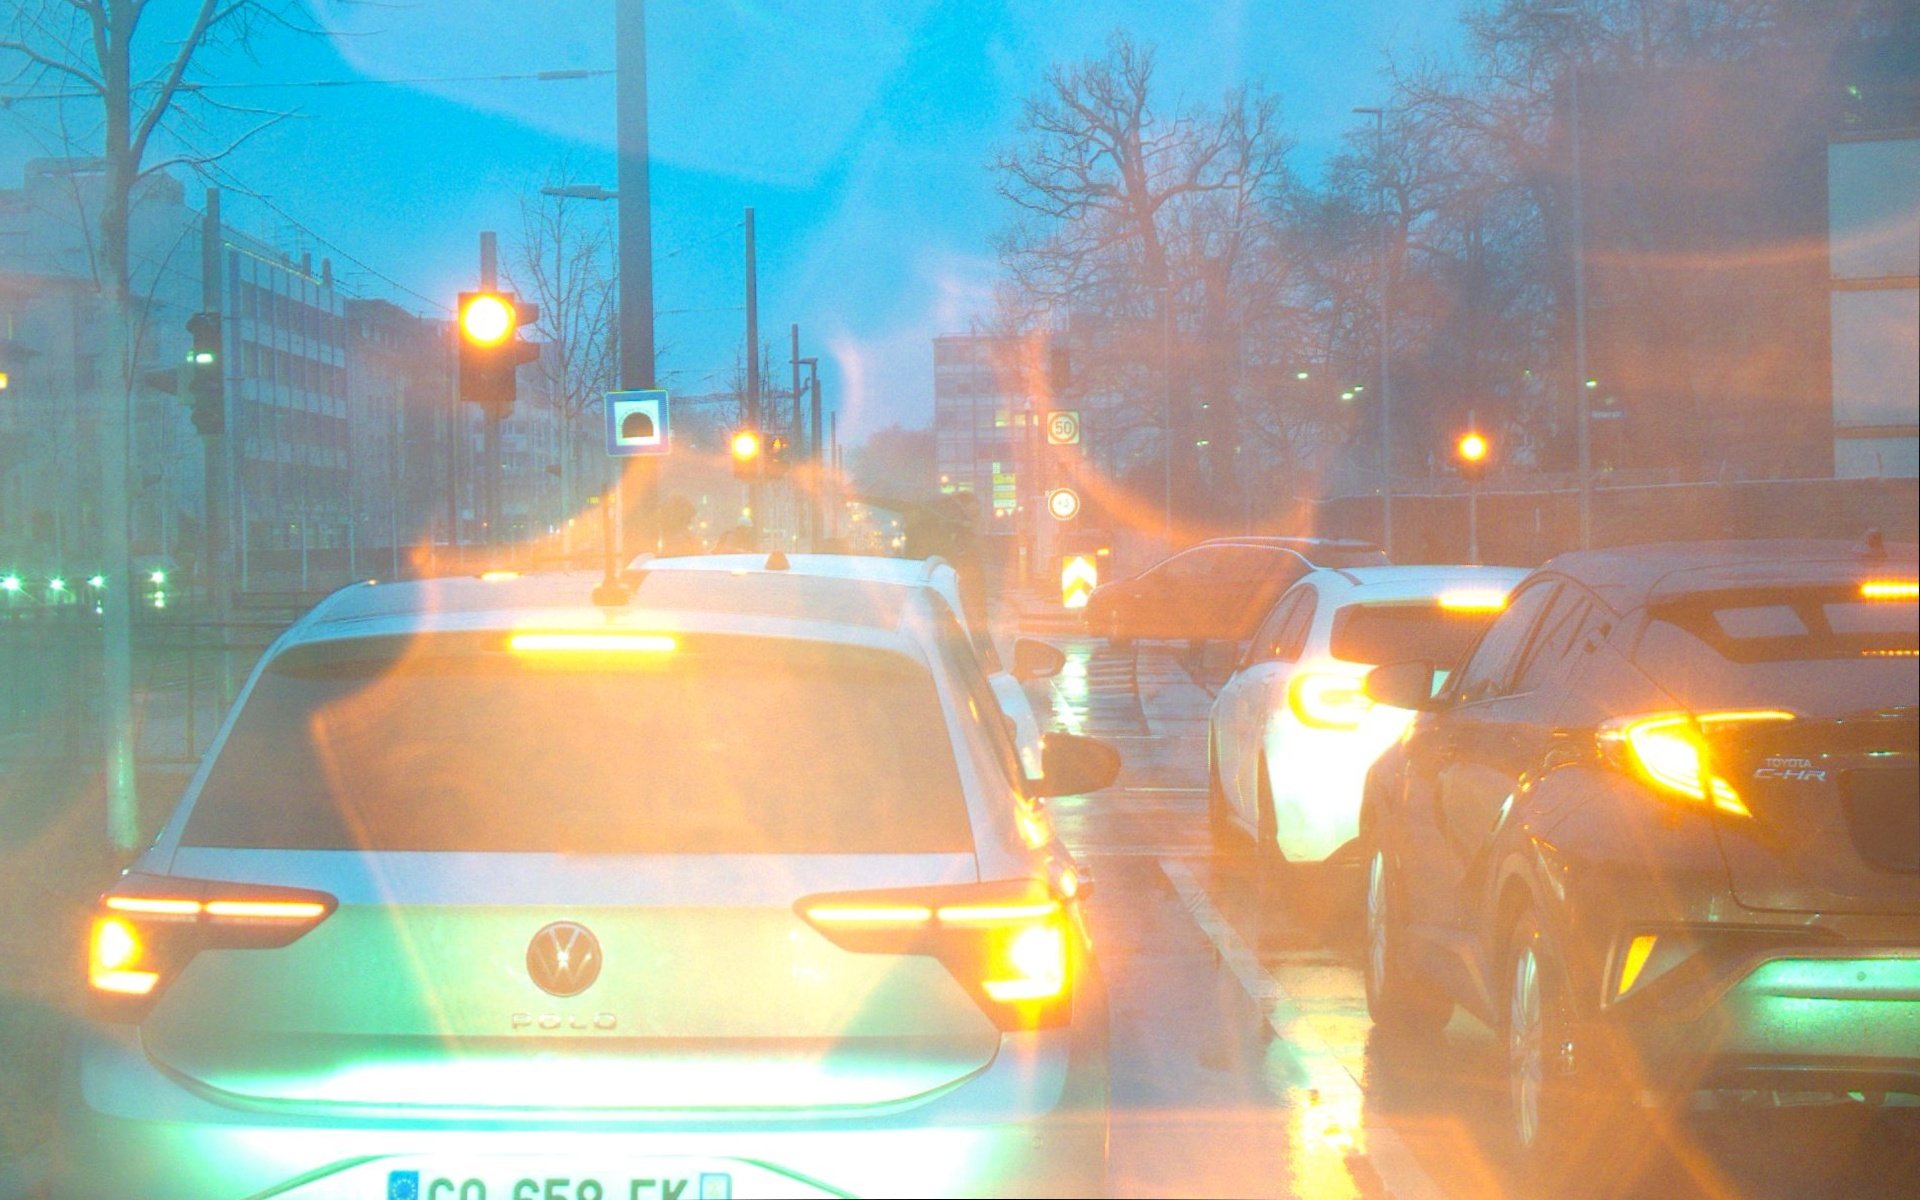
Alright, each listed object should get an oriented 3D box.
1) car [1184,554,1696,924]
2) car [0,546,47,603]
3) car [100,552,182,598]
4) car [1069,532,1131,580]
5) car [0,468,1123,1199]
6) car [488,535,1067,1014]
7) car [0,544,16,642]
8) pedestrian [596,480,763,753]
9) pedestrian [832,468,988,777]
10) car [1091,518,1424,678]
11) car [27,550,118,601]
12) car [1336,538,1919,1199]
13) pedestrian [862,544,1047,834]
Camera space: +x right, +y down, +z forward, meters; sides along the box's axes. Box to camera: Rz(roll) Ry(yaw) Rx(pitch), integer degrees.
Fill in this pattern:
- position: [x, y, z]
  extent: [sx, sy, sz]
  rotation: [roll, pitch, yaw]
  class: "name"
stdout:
- position: [2.012, 0.523, 15.407]
  extent: [1.745, 1.428, 3.731]
  rotation: [1, 1, 0]
  class: "car"
- position: [-27.806, -0.758, 99.004]
  extent: [1.950, 1.597, 4.000]
  rotation: [1, 1, 0]
  class: "car"
- position: [-29.052, -0.902, 122.085]
  extent: [1.950, 1.597, 4.000]
  rotation: [1, 1, 0]
  class: "car"
- position: [4.362, -1.392, 107.733]
  extent: [1.737, 1.415, 3.703]
  rotation: [-1, 1, 0]
  class: "car"
- position: [-0.647, 0.533, 6.941]
  extent: [1.693, 1.528, 4.000]
  rotation: [0, 1, -1]
  class: "car"
- position: [-0.588, 0.507, 13.137]
  extent: [1.799, 1.461, 4.586]
  rotation: [-1, 1, 0]
  class: "car"
- position: [-16.674, -0.119, 55.197]
  extent: [1.993, 1.597, 4.000]
  rotation: [1, 1, -1]
  class: "car"
- position: [-2.133, 0.111, 26.070]
  extent: [0.958, 2.007, 1.008]
  rotation: [-1, 1, -23]
  class: "pedestrian"
- position: [-0.323, 0.139, 23.035]
  extent: [0.959, 2.007, 1.007]
  rotation: [-1, 1, 2]
  class: "pedestrian"
- position: [3.740, -0.062, 43.939]
  extent: [1.993, 1.937, 4.286]
  rotation: [1, 1, -33]
  class: "car"
- position: [-29.183, -0.813, 113.144]
  extent: [1.950, 1.597, 4.000]
  rotation: [1, 1, 0]
  class: "car"
- position: [2.104, 0.602, 8.904]
  extent: [1.800, 1.505, 3.895]
  rotation: [-1, 1, 0]
  class: "car"
- position: [-0.032, 0.612, 24.540]
  extent: [0.960, 2.007, 1.006]
  rotation: [0, 1, 24]
  class: "pedestrian"
